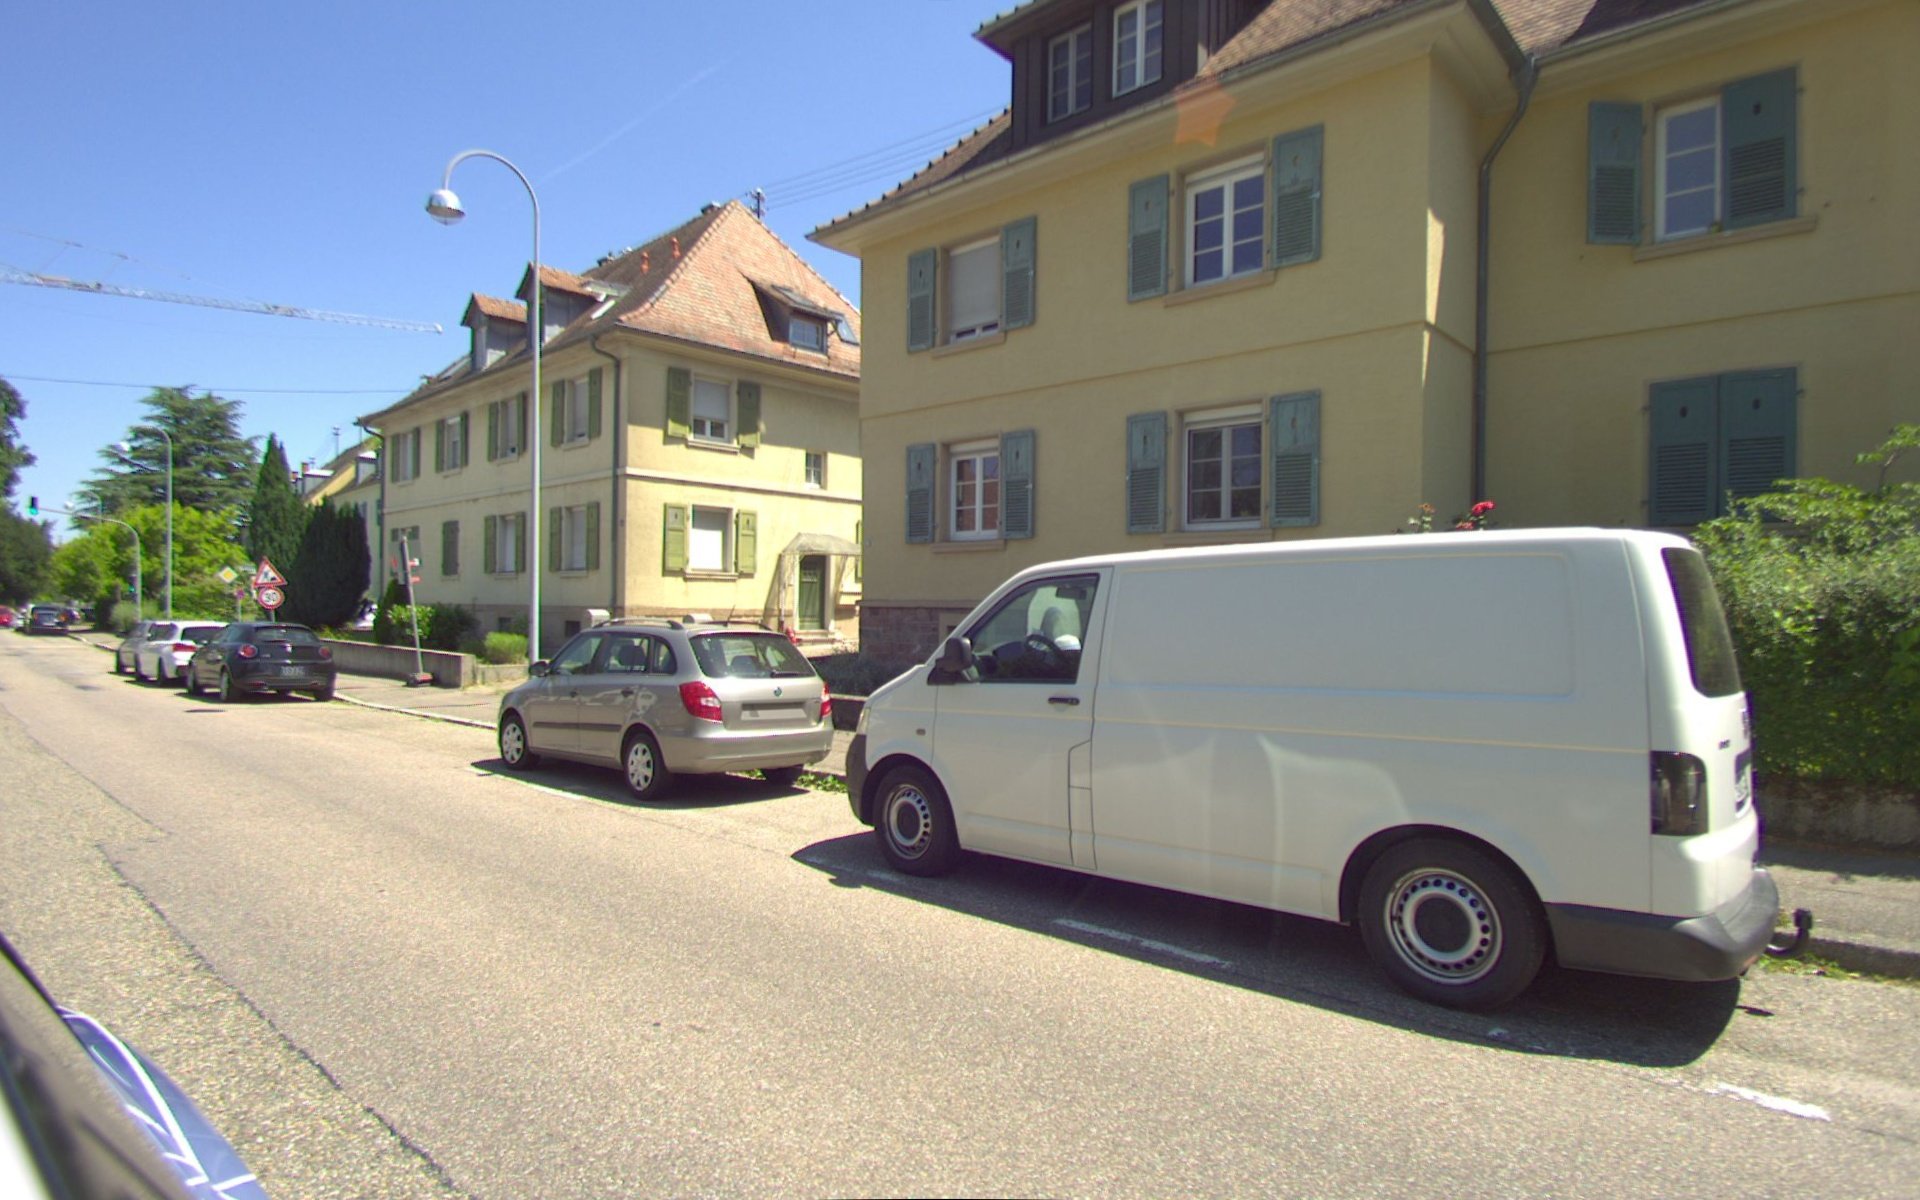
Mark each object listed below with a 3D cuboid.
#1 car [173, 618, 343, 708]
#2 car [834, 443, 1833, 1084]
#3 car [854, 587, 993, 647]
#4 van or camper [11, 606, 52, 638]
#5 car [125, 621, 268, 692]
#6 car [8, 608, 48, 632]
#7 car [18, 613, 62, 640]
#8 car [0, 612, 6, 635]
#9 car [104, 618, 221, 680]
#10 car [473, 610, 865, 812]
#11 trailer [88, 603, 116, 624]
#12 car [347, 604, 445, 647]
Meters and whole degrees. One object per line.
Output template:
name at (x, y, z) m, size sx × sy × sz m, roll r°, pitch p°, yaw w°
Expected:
car at (-13.495, 1.137, 19.372) m, size 4.075 × 1.496 × 1.697 m, roll 0°, pitch -3°, yaw 42°
car at (1.572, 0.570, 5.400) m, size 4.625 × 1.978 × 1.858 m, roll -1°, pitch -4°, yaw 42°
car at (-0.912, 0.417, 26.760) m, size 1.664 × 1.475 × 3.658 m, roll -1°, pitch 0°, yaw 40°
van or camper at (-55.354, 1.277, 60.347) m, size 1.661 × 1.818 × 3.990 m, roll 3°, pitch -2°, yaw -43°
car at (-17.300, 1.222, 22.864) m, size 4.218 × 1.413 × 1.775 m, roll 0°, pitch -2°, yaw 42°
car at (-59.406, 1.241, 64.562) m, size 1.660 × 1.452 × 4.253 m, roll 3°, pitch -2°, yaw -41°
car at (-51.763, 1.482, 56.939) m, size 1.661 × 1.423 × 3.929 m, roll 3°, pitch -2°, yaw -44°
car at (-68.027, 1.617, 70.655) m, size 3.697 × 1.578 × 1.794 m, roll 0°, pitch -2°, yaw 43°
car at (-20.941, 1.245, 26.522) m, size 3.923 × 1.458 × 1.740 m, roll 0°, pitch -2°, yaw 42°
car at (-2.930, 0.913, 9.717) m, size 4.061 × 1.537 × 1.669 m, roll -1°, pitch -4°, yaw 42°
trailer at (-88.969, 1.367, 105.008) m, size 1.790 × 2.049 × 4.010 m, roll 4°, pitch -3°, yaw -36°
car at (-23.018, 1.004, 41.324) m, size 3.163 × 1.467 × 1.738 m, roll -5°, pitch 4°, yaw -40°
